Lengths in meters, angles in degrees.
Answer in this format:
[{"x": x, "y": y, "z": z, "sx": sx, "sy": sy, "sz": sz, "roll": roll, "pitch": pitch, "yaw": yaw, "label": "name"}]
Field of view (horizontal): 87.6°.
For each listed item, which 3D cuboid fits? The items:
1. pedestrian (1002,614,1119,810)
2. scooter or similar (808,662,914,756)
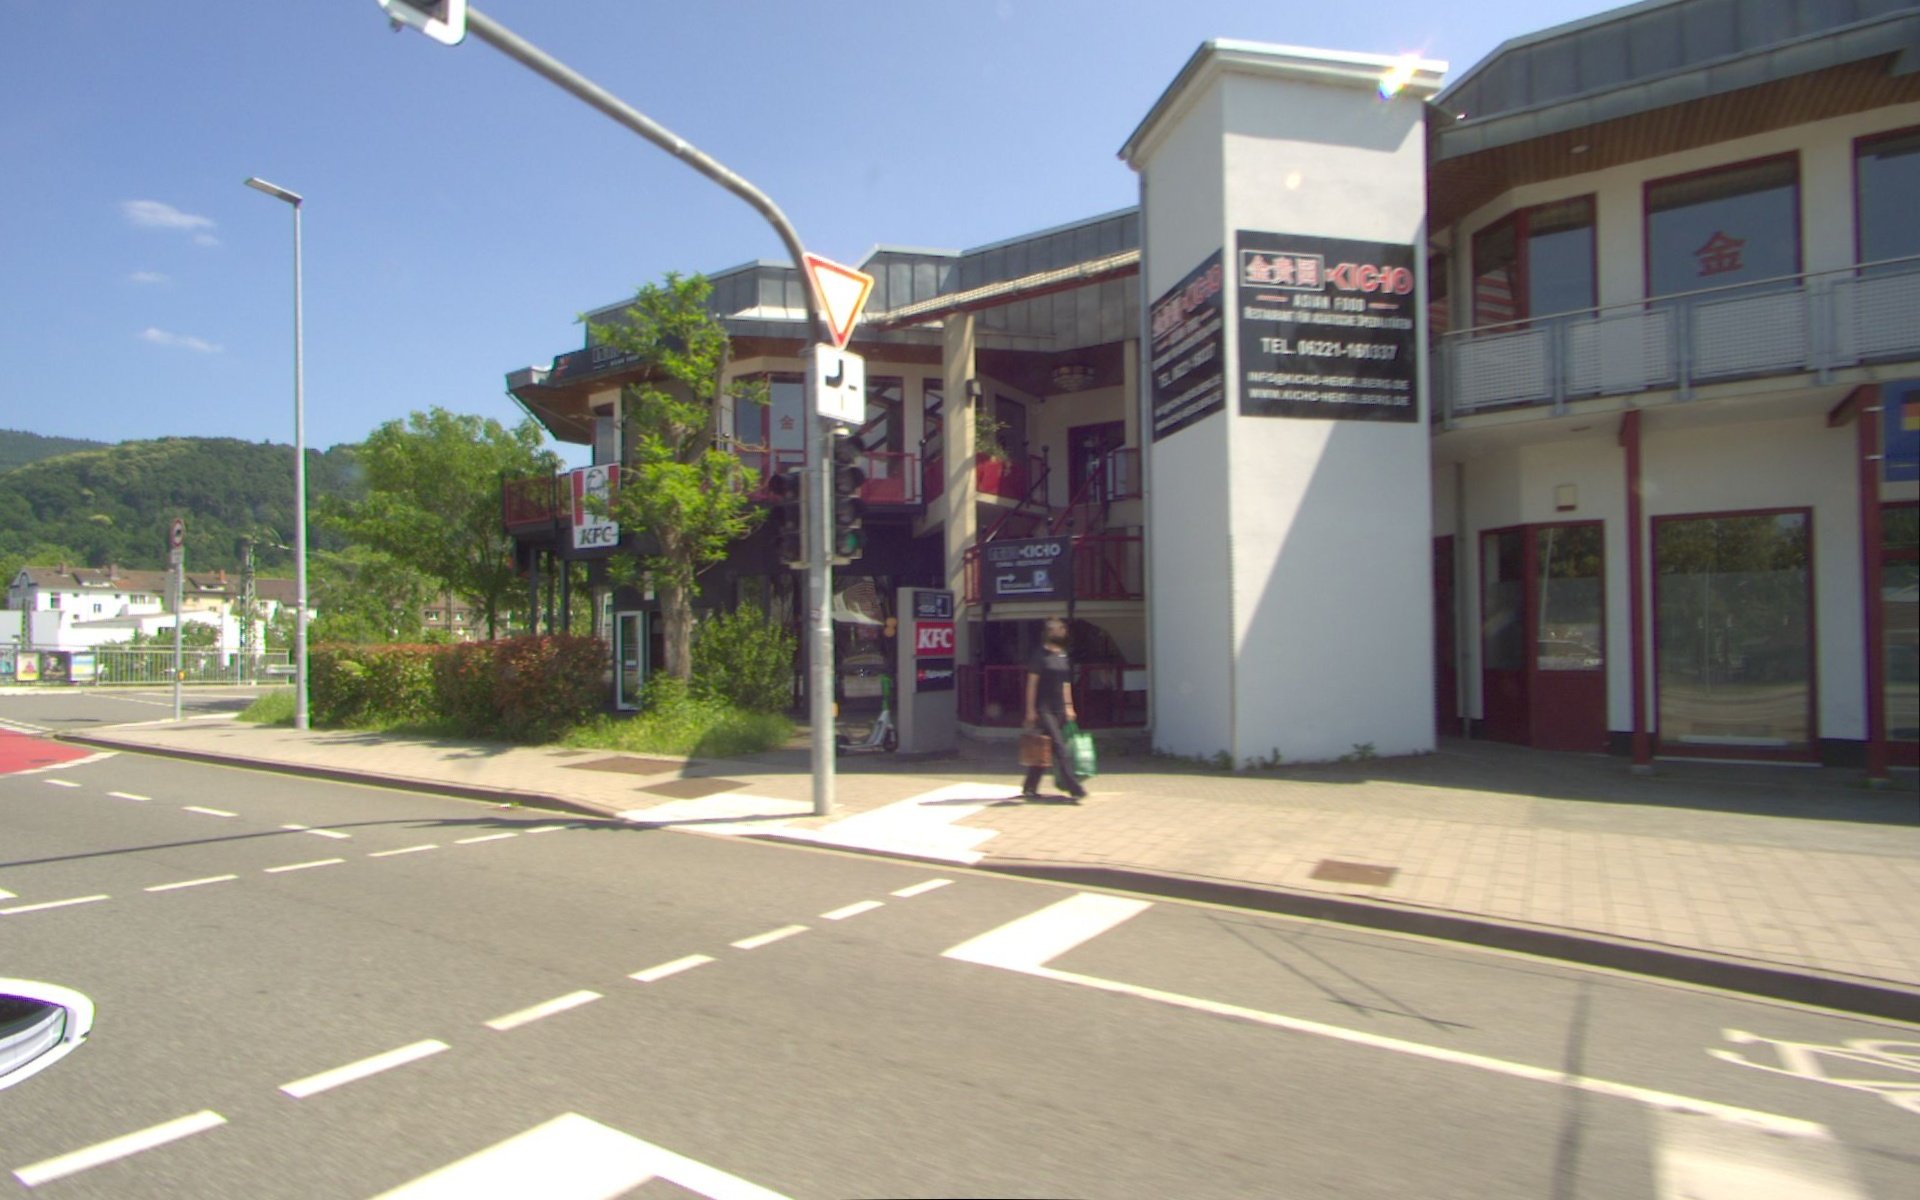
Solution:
[{"x": 0.902, "y": 0.974, "z": 9.081, "sx": 0.722, "sy": 1.666, "sz": 0.838, "roll": 0, "pitch": -1, "yaw": -27, "label": "pedestrian"}, {"x": -1.296, "y": 1.419, "z": 13.370, "sx": 0.495, "sy": 1.138, "sz": 1.493, "roll": -1, "pitch": -2, "yaw": 40, "label": "scooter or similar"}]
